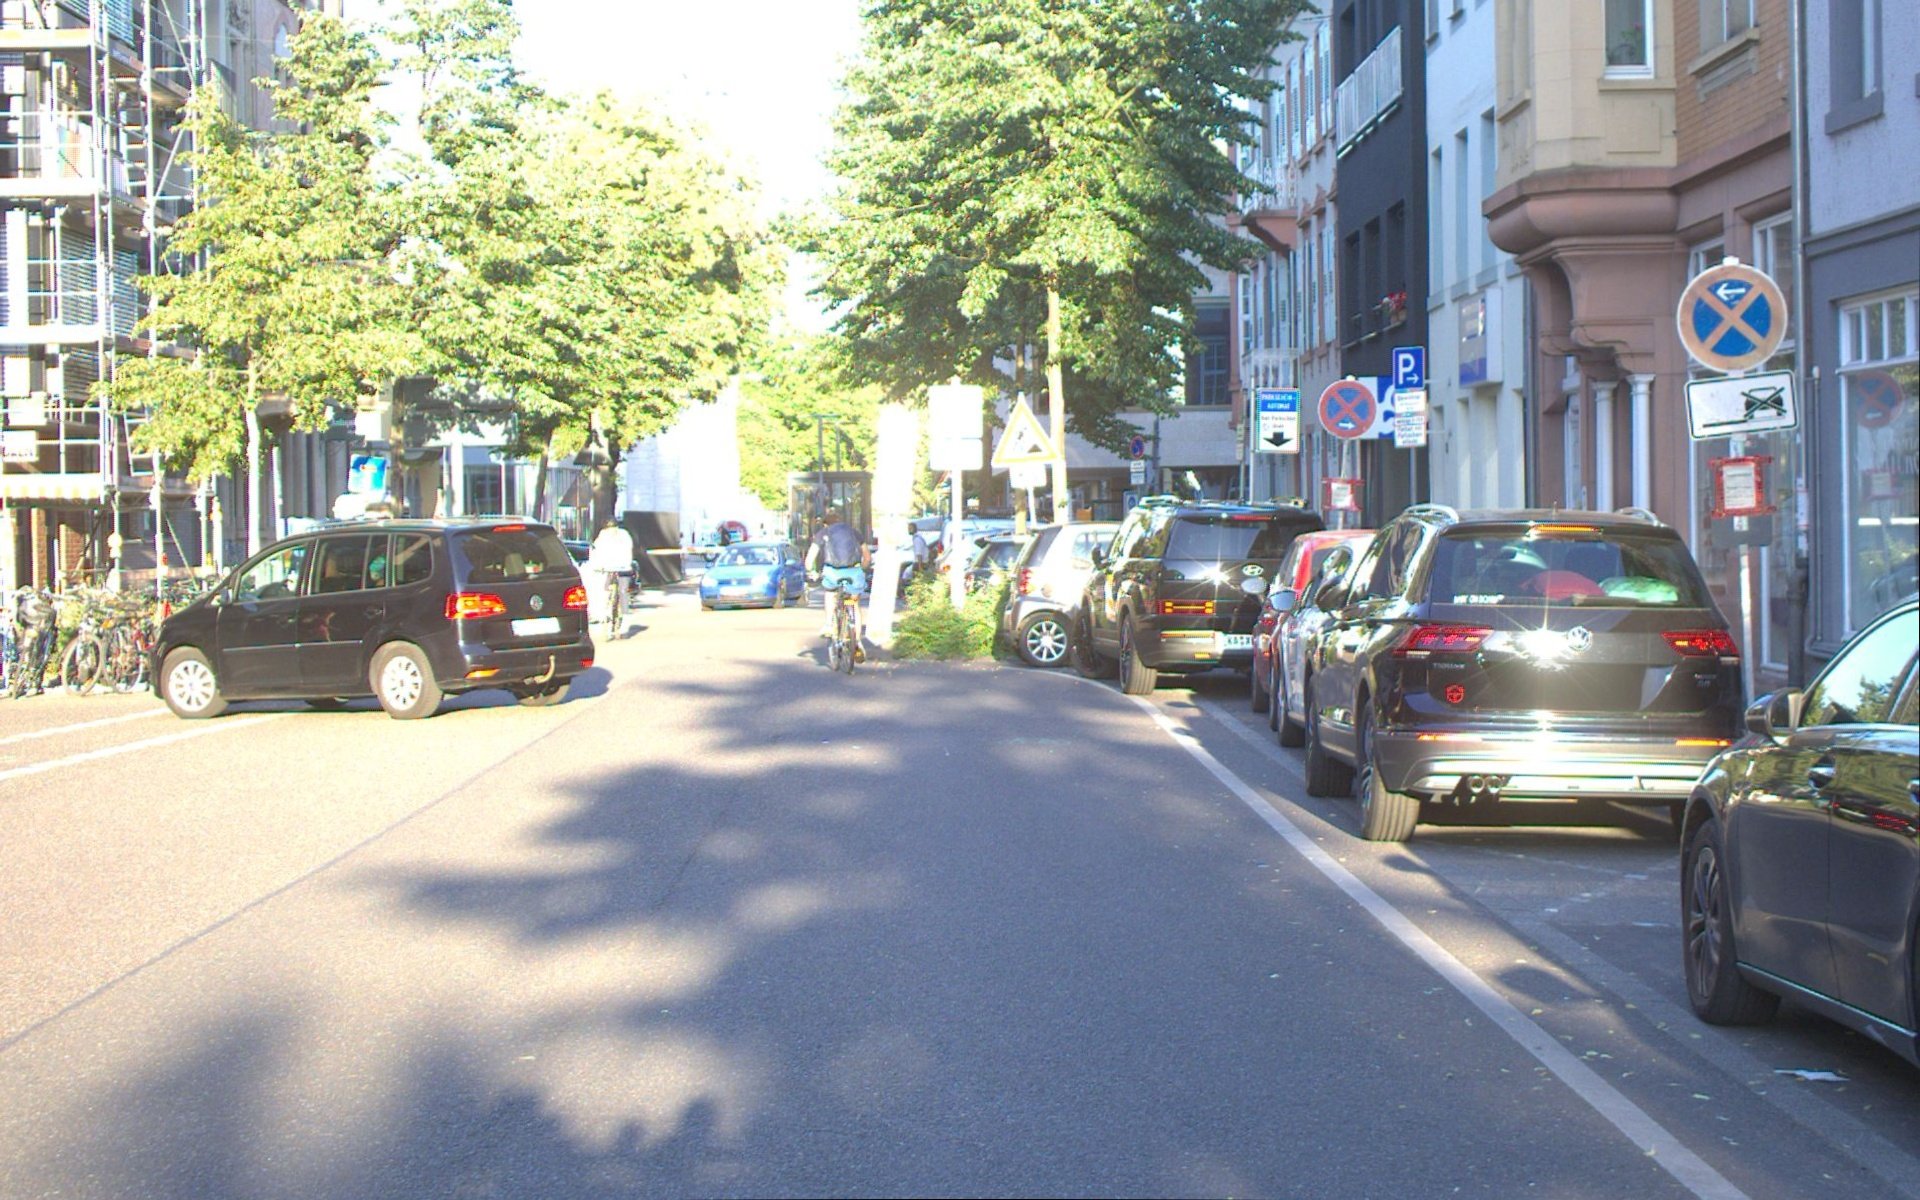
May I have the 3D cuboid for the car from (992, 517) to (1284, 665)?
[{"bbox_3d":[1.894,-0.106,37.017,2.968,1.531,1.434,0,1,-4],"label":"car"}]

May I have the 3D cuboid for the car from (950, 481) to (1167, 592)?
[{"bbox_3d":[1.884,-1.209,64.663,3.987,2.007,2.000,-1,1,4],"label":"car"}]

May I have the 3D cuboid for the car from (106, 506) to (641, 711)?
[{"bbox_3d":[-5.079,0.107,29.492,4.504,1.596,1.996,-2,-1,38],"label":"car"}]

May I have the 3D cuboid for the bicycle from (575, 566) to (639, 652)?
[{"bbox_3d":[-5.138,0.115,50.134,0.780,1.200,2.021,-2,1,-3],"label":"bicycle"}]

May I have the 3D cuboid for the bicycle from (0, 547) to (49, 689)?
[{"bbox_3d":[-9.876,0.158,35.481,0.584,1.391,3.162,0,1,-9],"label":"bicycle"}]

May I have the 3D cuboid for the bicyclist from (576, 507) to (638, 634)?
[{"bbox_3d":[-5.142,-0.436,50.129,0.780,1.823,1.007,-2,1,-3],"label":"bicyclist"}]

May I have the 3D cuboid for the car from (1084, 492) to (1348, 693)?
[{"bbox_3d":[2.259,-0.096,31.416,1.824,1.689,4.369,1,1,-3],"label":"car"}]

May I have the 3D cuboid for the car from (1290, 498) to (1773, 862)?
[{"bbox_3d":[2.836,0.339,17.962,1.812,1.662,4.206,1,1,0],"label":"car"}]

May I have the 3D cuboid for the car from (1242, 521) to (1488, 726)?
[{"bbox_3d":[3.096,0.147,26.785,1.587,1.478,3.266,1,1,1],"label":"car"}]

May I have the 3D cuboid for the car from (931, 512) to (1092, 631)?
[{"bbox_3d":[0.831,-0.501,59.057,2.265,1.760,4.510,5,1,-4],"label":"car"}]

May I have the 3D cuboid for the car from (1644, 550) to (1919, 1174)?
[{"bbox_3d":[3.168,0.613,9.323,1.762,1.478,4.307,1,1,0],"label":"car"}]

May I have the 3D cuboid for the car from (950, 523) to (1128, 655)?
[{"bbox_3d":[1.000,-0.179,45.939,1.993,1.662,4.510,1,1,-3],"label":"car"}]

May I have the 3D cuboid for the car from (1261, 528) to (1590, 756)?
[{"bbox_3d":[3.001,0.227,22.838,1.666,1.373,3.803,1,1,0],"label":"car"}]

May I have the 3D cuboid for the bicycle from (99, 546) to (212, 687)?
[{"bbox_3d":[-8.336,0.137,35.739,0.892,1.391,3.167,-1,1,-9],"label":"bicycle"}]

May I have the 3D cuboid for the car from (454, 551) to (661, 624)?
[{"bbox_3d":[-8.442,-0.276,72.335,4.103,1.460,1.889,1,1,1],"label":"car"}]

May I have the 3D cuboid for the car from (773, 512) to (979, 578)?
[{"bbox_3d":[-1.927,-1.271,79.525,4.445,1.475,1.890,0,1,-35],"label":"car"}]

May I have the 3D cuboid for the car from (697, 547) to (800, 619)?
[{"bbox_3d":[-4.436,-0.382,72.602,1.838,1.436,4.332,1,1,0],"label":"car"}]

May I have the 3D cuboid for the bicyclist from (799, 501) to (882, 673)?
[{"bbox_3d":[-1.211,-0.135,34.709,0.780,1.690,1.007,-2,1,-3],"label":"bicyclist"}]

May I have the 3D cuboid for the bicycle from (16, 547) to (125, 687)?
[{"bbox_3d":[-9.184,0.147,35.601,0.780,1.368,3.143,0,1,-9],"label":"bicycle"}]

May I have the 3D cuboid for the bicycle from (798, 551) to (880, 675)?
[{"bbox_3d":[-1.238,0.112,34.901,0.780,1.200,2.021,-2,1,-3],"label":"bicycle"}]

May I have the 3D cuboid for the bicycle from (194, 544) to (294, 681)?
[{"bbox_3d":[-7.447,0.100,35.875,0.844,1.346,3.188,-1,1,-9],"label":"bicycle"}]
